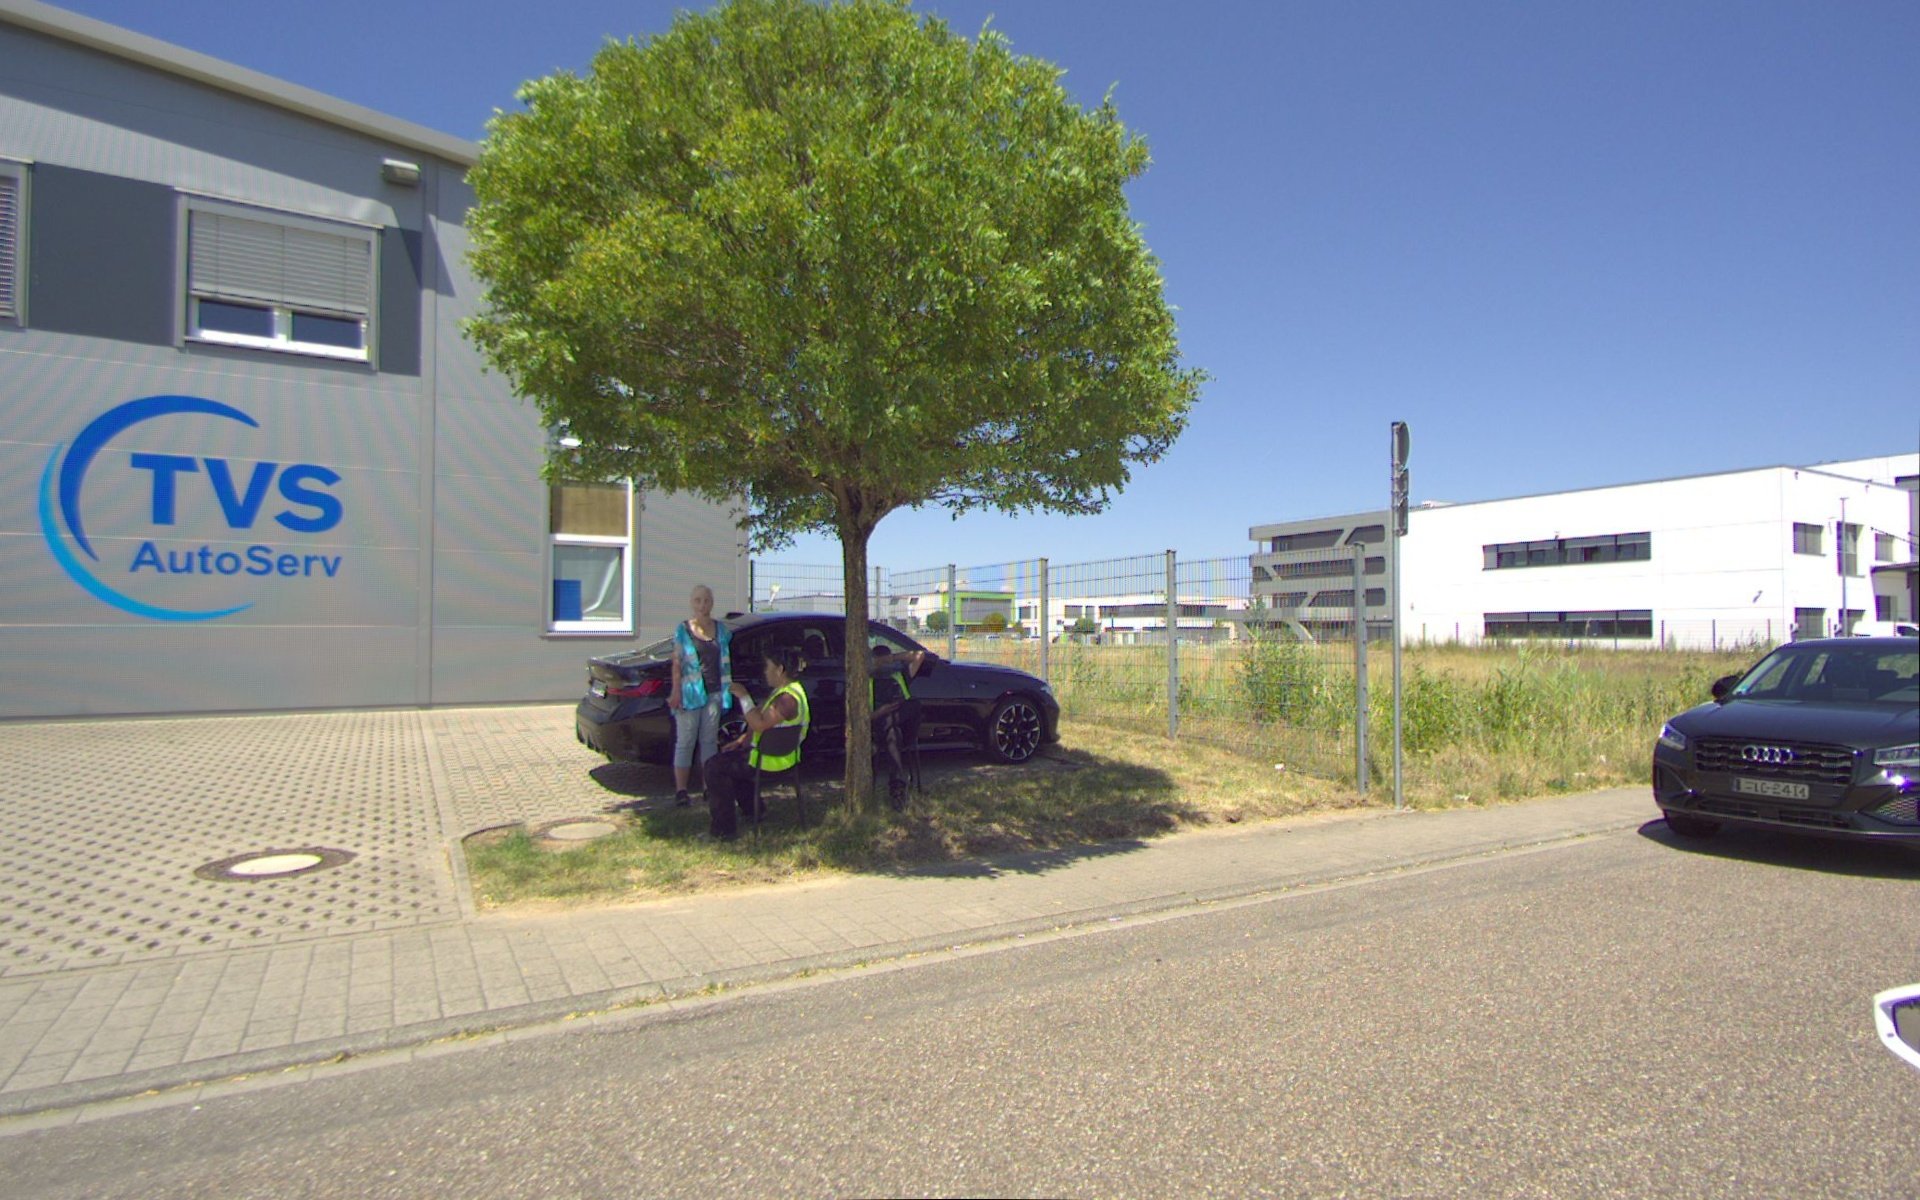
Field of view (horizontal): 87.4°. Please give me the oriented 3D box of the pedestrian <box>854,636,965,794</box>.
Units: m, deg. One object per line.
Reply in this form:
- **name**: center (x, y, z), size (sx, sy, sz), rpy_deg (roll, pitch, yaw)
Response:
- **pedestrian**: center (-0.420, 0.912, 8.241), size (0.743, 1.207, 0.504), rpy_deg (1, 1, -28)

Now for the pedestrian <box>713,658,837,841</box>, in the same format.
- **pedestrian**: center (-1.282, 0.982, 6.895), size (0.638, 1.113, 0.748), rpy_deg (1, 1, -26)

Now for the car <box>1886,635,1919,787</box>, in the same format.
- **car**: center (11.460, 1.115, 10.500), size (3.788, 1.512, 1.583), rpy_deg (1, -2, -31)

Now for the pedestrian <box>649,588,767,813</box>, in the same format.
- **pedestrian**: center (-1.923, 0.731, 7.639), size (0.743, 1.616, 0.504), rpy_deg (1, 1, -28)

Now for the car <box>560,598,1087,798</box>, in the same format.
- **car**: center (-1.202, 0.777, 9.626), size (4.639, 1.484, 1.916), rpy_deg (1, 0, -32)

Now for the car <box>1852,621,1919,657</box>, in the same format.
- **car**: center (52.155, 2.145, 55.037), size (2.007, 1.968, 4.509), rpy_deg (1, -3, -29)

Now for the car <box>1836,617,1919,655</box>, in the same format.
- **car**: center (49.874, 1.914, 53.467), size (2.007, 1.968, 4.509), rpy_deg (1, -3, -29)

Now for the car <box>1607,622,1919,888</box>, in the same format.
- **car**: center (7.104, 0.988, 7.777), size (4.143, 1.588, 1.917), rpy_deg (1, -3, -32)
